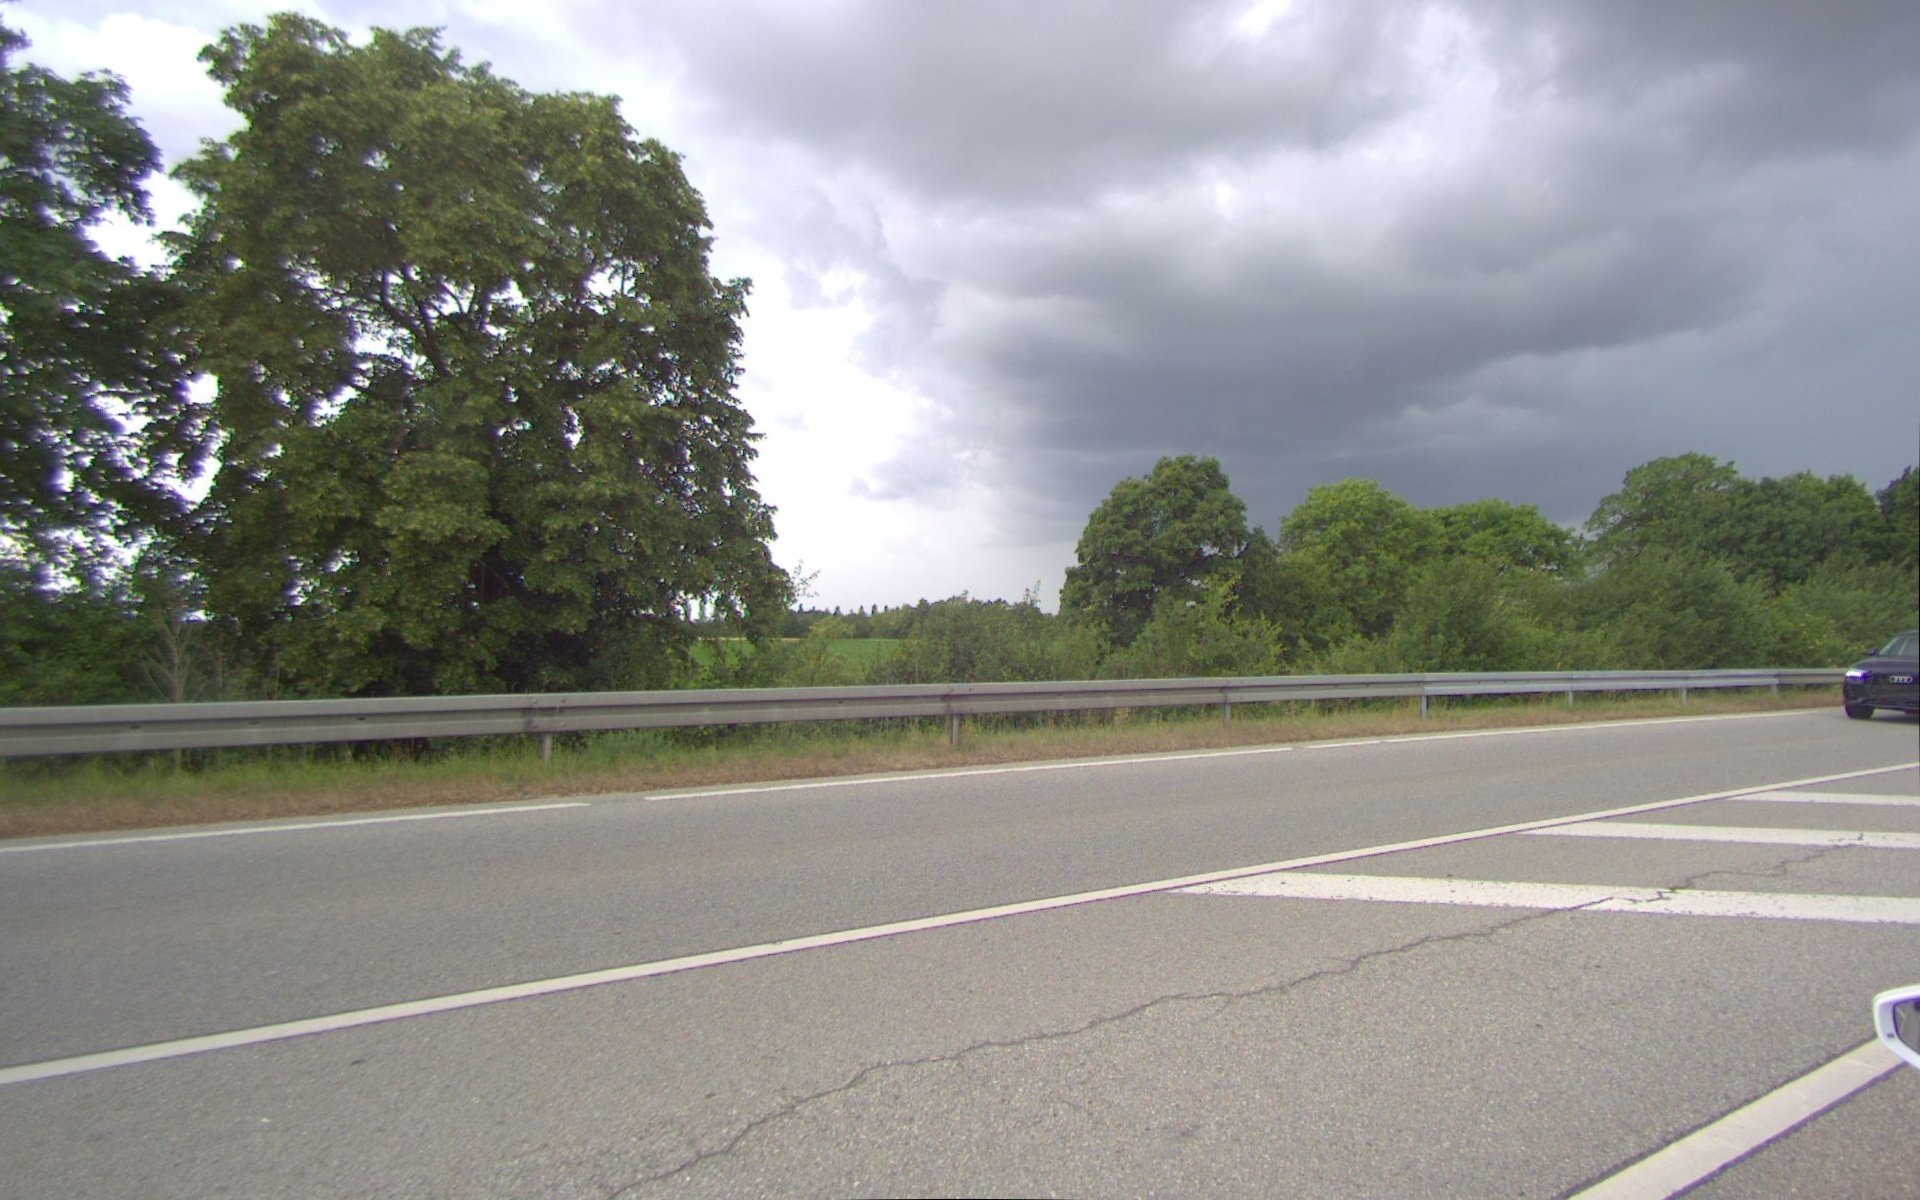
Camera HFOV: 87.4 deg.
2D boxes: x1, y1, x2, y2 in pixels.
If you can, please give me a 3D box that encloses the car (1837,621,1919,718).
[{"bbox_3d":[17.260,1.179,17.573,4.161,1.539,1.701,1,0,-31],"label":"car"}]
